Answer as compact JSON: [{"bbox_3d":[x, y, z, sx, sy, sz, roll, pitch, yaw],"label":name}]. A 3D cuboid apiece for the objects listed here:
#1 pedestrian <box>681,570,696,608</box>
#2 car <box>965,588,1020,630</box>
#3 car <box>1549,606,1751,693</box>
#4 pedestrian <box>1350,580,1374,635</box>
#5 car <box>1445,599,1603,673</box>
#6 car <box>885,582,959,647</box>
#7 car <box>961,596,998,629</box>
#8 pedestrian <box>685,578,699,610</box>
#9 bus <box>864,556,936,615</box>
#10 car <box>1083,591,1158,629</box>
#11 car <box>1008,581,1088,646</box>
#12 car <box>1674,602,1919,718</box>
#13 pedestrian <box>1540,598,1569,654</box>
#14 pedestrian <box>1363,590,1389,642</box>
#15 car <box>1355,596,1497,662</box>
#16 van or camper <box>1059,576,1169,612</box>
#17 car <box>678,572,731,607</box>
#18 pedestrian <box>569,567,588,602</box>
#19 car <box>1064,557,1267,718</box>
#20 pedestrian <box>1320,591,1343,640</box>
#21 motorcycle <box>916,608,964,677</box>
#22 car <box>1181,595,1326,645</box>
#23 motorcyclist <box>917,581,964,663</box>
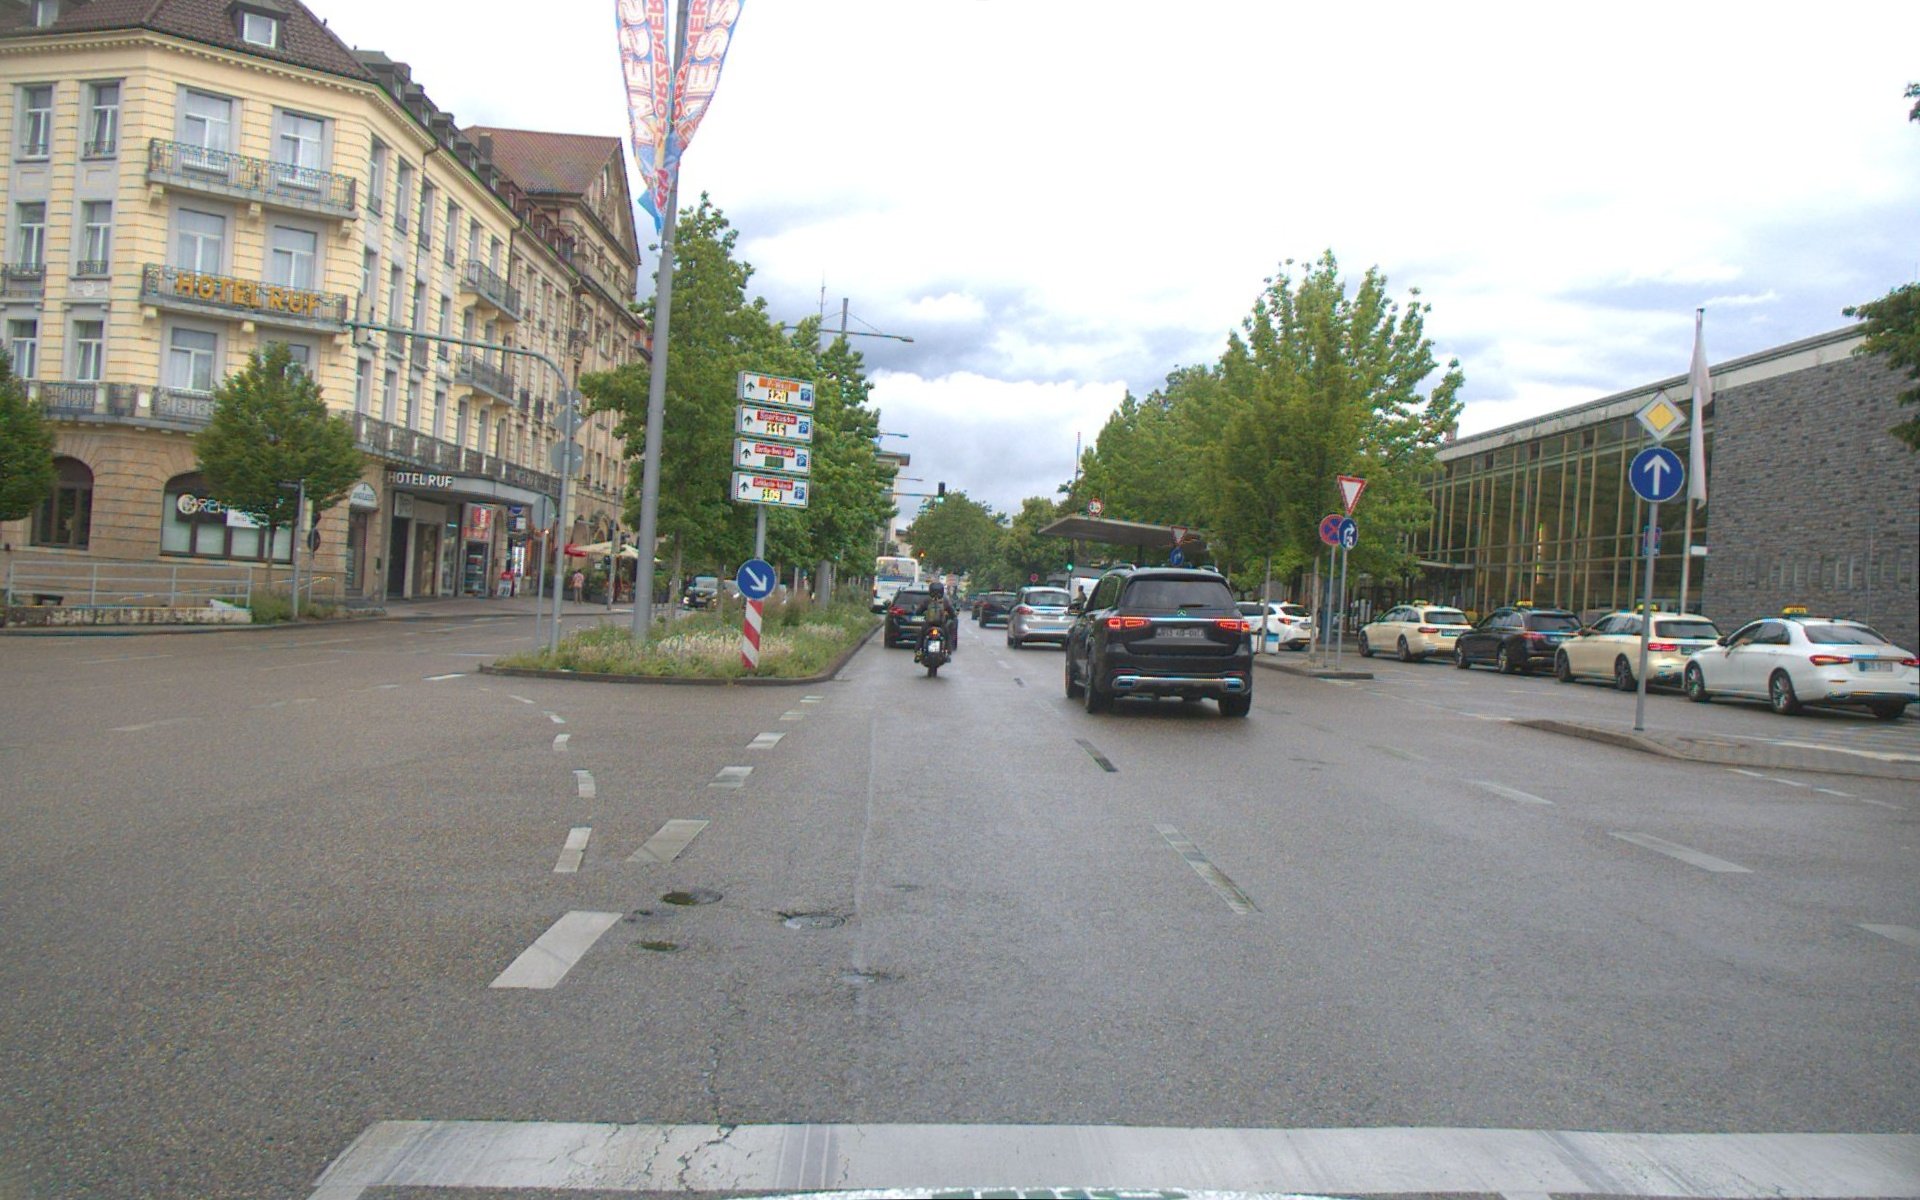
[{"bbox_3d":[-14.844,-0.594,90.367,0.742,2.049,0.832,2,0,-7],"label":"pedestrian"},{"bbox_3d":[1.273,0.343,67.115,1.775,1.609,3.899,2,0,-5],"label":"car"},{"bbox_3d":[13.215,0.891,32.026,1.809,1.477,4.665,1,0,-2],"label":"car"},{"bbox_3d":[18.038,0.325,74.162,0.825,2.453,0.862,1,0,1],"label":"pedestrian"},{"bbox_3d":[13.012,0.782,38.492,1.875,1.551,4.740,1,0,-3],"label":"car"},{"bbox_3d":[-0.907,0.324,40.060,1.673,1.473,3.999,1,0,-1],"label":"car"},{"bbox_3d":[1.028,0.652,88.766,1.774,1.671,3.902,2,0,-2],"label":"car"},{"bbox_3d":[-14.663,-0.326,90.366,0.661,1.731,0.633,1,0,-1],"label":"pedestrian"},{"bbox_3d":[-3.811,-0.861,100.450,3.686,3.265,15.512,1,0,-4],"label":"bus"},{"bbox_3d":[9.422,0.580,97.089,3.929,2.049,1.988,2,0,-21],"label":"car"},{"bbox_3d":[2.264,0.323,43.451,1.813,1.594,3.999,1,0,-1],"label":"car"},{"bbox_3d":[13.344,0.879,26.372,1.739,1.617,4.614,1,0,-2],"label":"car"},{"bbox_3d":[17.981,0.780,50.050,0.553,1.675,0.715,1,0,-6],"label":"pedestrian"},{"bbox_3d":[16.707,0.651,66.379,0.754,2.049,0.828,1,0,-3],"label":"pedestrian"},{"bbox_3d":[12.518,0.731,44.786,1.956,1.628,4.815,1,0,-8],"label":"car"},{"bbox_3d":[9.639,-0.364,103.427,6.675,2.049,2.364,1,0,-27],"label":"van or camper"},{"bbox_3d":[-11.964,-0.472,77.620,1.735,1.557,4.079,2,0,1],"label":"car"},{"bbox_3d":[-16.731,-0.683,72.547,0.656,1.537,0.512,1,0,-39],"label":"pedestrian"},{"bbox_3d":[2.542,0.419,21.598,1.953,1.837,4.689,1,0,-1],"label":"car"},{"bbox_3d":[15.800,0.650,70.350,0.754,2.049,0.828,1,0,-3],"label":"pedestrian"},{"bbox_3d":[-0.335,0.698,28.064,0.750,1.095,2.175,2,0,-1],"label":"motorcycle"},{"bbox_3d":[9.086,0.601,51.496,1.764,1.409,4.303,1,0,-41],"label":"car"},{"bbox_3d":[-0.331,0.371,28.115,0.749,1.354,0.866,2,0,-1],"label":"motorcyclist"}]
